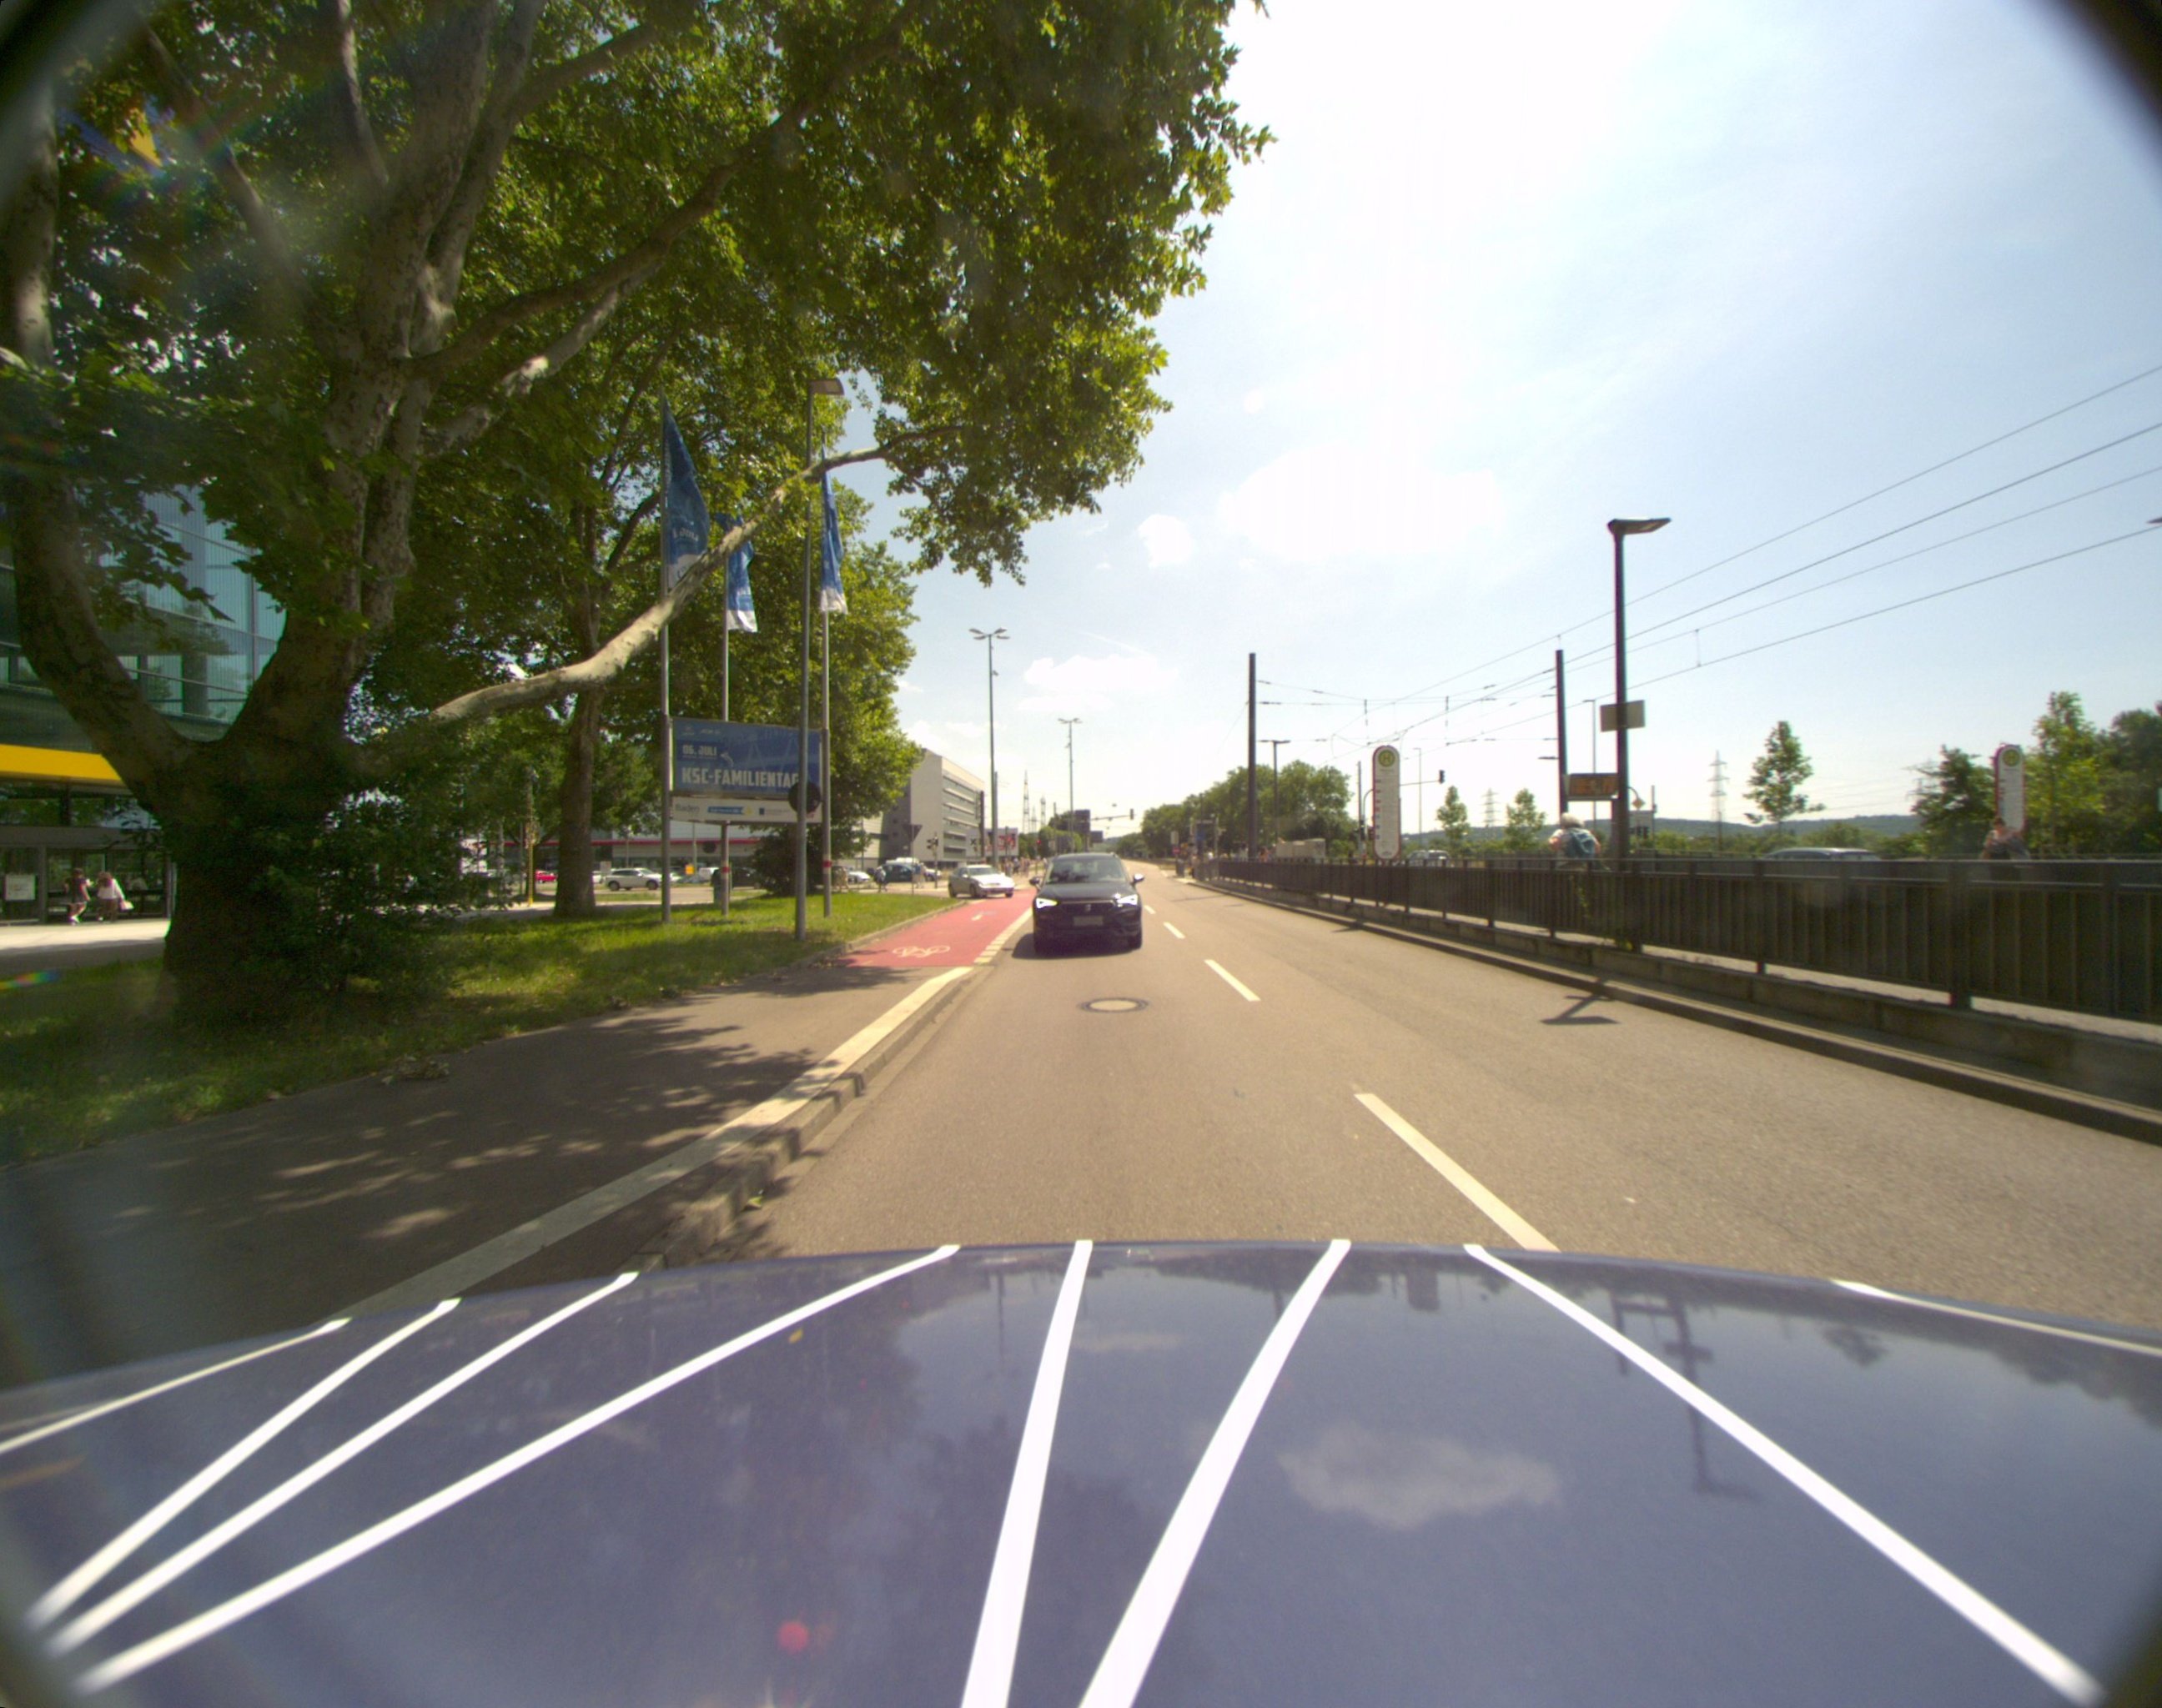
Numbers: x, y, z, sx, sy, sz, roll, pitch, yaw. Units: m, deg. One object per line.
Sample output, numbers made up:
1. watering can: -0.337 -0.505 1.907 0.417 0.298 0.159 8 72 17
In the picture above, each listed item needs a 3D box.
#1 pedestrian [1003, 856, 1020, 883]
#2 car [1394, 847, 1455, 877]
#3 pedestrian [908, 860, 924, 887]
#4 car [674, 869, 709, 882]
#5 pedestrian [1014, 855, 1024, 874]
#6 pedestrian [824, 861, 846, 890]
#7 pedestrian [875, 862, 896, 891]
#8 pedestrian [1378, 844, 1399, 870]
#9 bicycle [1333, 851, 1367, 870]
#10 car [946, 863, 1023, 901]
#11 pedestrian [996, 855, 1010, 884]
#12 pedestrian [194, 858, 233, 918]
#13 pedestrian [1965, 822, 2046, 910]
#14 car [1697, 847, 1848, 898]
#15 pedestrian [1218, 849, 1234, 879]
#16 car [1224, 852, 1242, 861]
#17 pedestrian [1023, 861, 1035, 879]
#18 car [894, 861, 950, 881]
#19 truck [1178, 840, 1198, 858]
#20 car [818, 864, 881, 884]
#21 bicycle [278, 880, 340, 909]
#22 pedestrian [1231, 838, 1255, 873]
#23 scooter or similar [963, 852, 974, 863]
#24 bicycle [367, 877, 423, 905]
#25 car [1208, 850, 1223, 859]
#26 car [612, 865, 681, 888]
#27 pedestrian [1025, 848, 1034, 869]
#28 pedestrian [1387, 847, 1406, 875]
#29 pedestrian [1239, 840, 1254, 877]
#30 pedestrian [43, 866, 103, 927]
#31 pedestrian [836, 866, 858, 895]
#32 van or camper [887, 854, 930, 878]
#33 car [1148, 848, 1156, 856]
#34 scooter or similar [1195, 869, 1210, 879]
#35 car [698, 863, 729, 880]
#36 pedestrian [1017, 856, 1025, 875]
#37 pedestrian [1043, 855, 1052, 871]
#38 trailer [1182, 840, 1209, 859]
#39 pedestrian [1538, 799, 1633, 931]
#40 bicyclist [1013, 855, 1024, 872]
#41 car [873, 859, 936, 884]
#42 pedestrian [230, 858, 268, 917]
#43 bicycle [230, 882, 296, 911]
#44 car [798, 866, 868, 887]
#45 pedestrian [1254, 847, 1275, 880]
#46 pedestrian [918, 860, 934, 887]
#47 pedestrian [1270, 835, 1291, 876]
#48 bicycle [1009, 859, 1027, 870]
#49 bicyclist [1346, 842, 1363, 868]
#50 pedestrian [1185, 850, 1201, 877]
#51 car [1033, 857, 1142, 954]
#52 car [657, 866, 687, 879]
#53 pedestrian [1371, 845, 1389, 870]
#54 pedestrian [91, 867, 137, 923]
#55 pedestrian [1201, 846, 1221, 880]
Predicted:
1. pedestrian: -4.140 0.907 45.112 0.896 1.597 0.767 -2 1 -2
2. car: 20.924 0.445 46.423 1.998 1.619 4.000 -2 1 2
3. pedestrian: -10.415 1.246 48.001 0.603 1.628 0.864 -2 2 9
4. car: -45.469 2.477 88.760 1.853 1.368 3.943 -2 0 3
5. pedestrian: -6.198 1.091 76.049 0.805 1.854 0.798 -2 1 6
6. pedestrian: -14.304 1.247 44.203 0.796 1.649 0.853 -1 1 18
7. pedestrian: -11.454 1.330 44.441 0.795 1.649 0.853 -1 1 22
8. pedestrian: 19.179 0.163 47.461 0.959 1.601 0.764 -1 1 -1
9. bicycle: 17.254 0.406 48.725 1.979 1.094 0.763 -2 1 -14
10. car: -4.212 1.157 32.431 1.734 1.410 4.312 -3 1 -29
11. pedestrian: -4.551 0.894 44.310 0.725 1.673 0.625 -2 1 -2
12. pedestrian: -29.577 1.137 25.905 0.797 2.002 0.734 -1 1 33
13. pedestrian: 17.692 0.228 14.554 0.558 1.628 0.806 -1 1 -6
14. car: 25.446 0.615 28.185 1.998 1.619 4.000 -3 1 2
15. pedestrian: 8.354 0.573 43.709 0.734 1.663 0.678 -2 1 -2
16. car: 23.886 0.405 119.614 1.998 1.436 4.349 -1 0 1
17. pedestrian: -4.786 1.463 70.215 0.785 1.663 0.945 -2 1 -24
18. car: -12.072 1.284 57.867 3.834 1.389 1.803 -1 0 -2
19. truck: 24.245 -1.134 172.849 3.134 4.015 7.473 -2 0 -2
20. car: -17.692 1.512 58.141 4.227 1.390 1.805 -1 0 9
21. bicycle: -36.422 1.891 35.906 0.803 1.192 2.430 -1 0 -12
22. pedestrian: 7.514 0.065 35.224 0.892 1.595 0.924 -1 0 0
23. scooter or similar: -13.097 0.390 88.541 0.479 1.120 1.281 -1 4 30
24. bicycle: -31.689 1.678 35.146 0.803 1.138 2.430 -1 0 -12
25. car: 24.548 0.084 138.904 1.999 1.454 4.278 -1 0 0
26. car: -33.090 1.688 57.955 4.078 1.630 2.001 -1 -1 3
27. pedestrian: -4.145 0.360 61.193 0.528 1.656 0.640 -2 1 5
28. pedestrian: 18.705 0.419 45.110 0.763 1.662 0.764 -1 1 -1
29. pedestrian: 6.993 0.197 32.186 0.498 1.568 0.557 -1 1 0
30. pedestrian: -29.665 1.237 22.367 0.782 1.725 0.741 -1 1 9
31. pedestrian: -13.500 1.539 43.879 0.796 1.649 0.853 -1 1 18
32. van or camper: -22.858 1.497 101.194 2.713 2.929 7.618 -1 1 10
33. car: 22.321 -0.555 238.431 1.998 1.824 4.441 5 -9 4
34. scooter or similar: 6.557 1.089 40.959 0.728 0.503 0.457 -1 0 -2
35. car: -49.903 2.383 103.368 1.998 2.002 4.000 -2 1 4
36. pedestrian: -4.812 0.919 61.245 0.528 1.570 0.612 -2 1 5
37. pedestrian: -3.175 0.879 72.208 0.592 1.467 0.804 -1 1 -26
38. trailer: 24.535 -0.939 164.191 3.123 3.848 15.478 -1 1 -1
39. pedestrian: 6.600 0.138 9.975 0.734 1.656 0.742 -1 1 0
40. bicyclist: -6.384 0.955 77.840 0.818 1.690 0.797 0 0 -44
41. car: -12.699 1.237 54.737 3.997 1.547 2.000 -2 1 0
42. pedestrian: -29.364 1.161 26.816 0.734 2.002 0.797 -2 1 -38
43. bicycle: -37.931 1.962 35.296 0.803 1.192 2.430 -1 0 -12
44. car: -17.678 1.593 54.296 4.411 1.435 1.853 -1 0 0
45. pedestrian: 7.527 0.385 31.187 0.615 1.337 0.720 -2 1 -1
46. pedestrian: -9.779 1.221 47.966 0.607 1.628 0.864 -2 2 9
47. pedestrian: 8.181 0.051 31.238 0.615 1.671 0.720 -2 1 -1
48. bicycle: -6.451 1.068 77.903 0.833 1.155 1.874 -1 -1 -45
49. bicyclist: 17.562 0.064 48.826 0.666 1.606 0.732 -2 1 -15
50. pedestrian: 6.636 0.577 45.183 0.787 1.563 0.764 -2 1 -2
51. car: 0.132 0.877 14.790 1.820 1.583 4.000 -1 0 1
52. car: -53.148 2.408 98.779 1.853 1.537 3.999 -2 0 -2
53. pedestrian: 18.309 0.216 46.530 0.763 1.539 0.764 -1 1 -1
54. pedestrian: -29.458 1.247 23.154 0.607 1.662 0.586 -2 1 6
55. pedestrian: 7.033 0.490 41.159 0.865 1.792 0.883 -2 1 -3
